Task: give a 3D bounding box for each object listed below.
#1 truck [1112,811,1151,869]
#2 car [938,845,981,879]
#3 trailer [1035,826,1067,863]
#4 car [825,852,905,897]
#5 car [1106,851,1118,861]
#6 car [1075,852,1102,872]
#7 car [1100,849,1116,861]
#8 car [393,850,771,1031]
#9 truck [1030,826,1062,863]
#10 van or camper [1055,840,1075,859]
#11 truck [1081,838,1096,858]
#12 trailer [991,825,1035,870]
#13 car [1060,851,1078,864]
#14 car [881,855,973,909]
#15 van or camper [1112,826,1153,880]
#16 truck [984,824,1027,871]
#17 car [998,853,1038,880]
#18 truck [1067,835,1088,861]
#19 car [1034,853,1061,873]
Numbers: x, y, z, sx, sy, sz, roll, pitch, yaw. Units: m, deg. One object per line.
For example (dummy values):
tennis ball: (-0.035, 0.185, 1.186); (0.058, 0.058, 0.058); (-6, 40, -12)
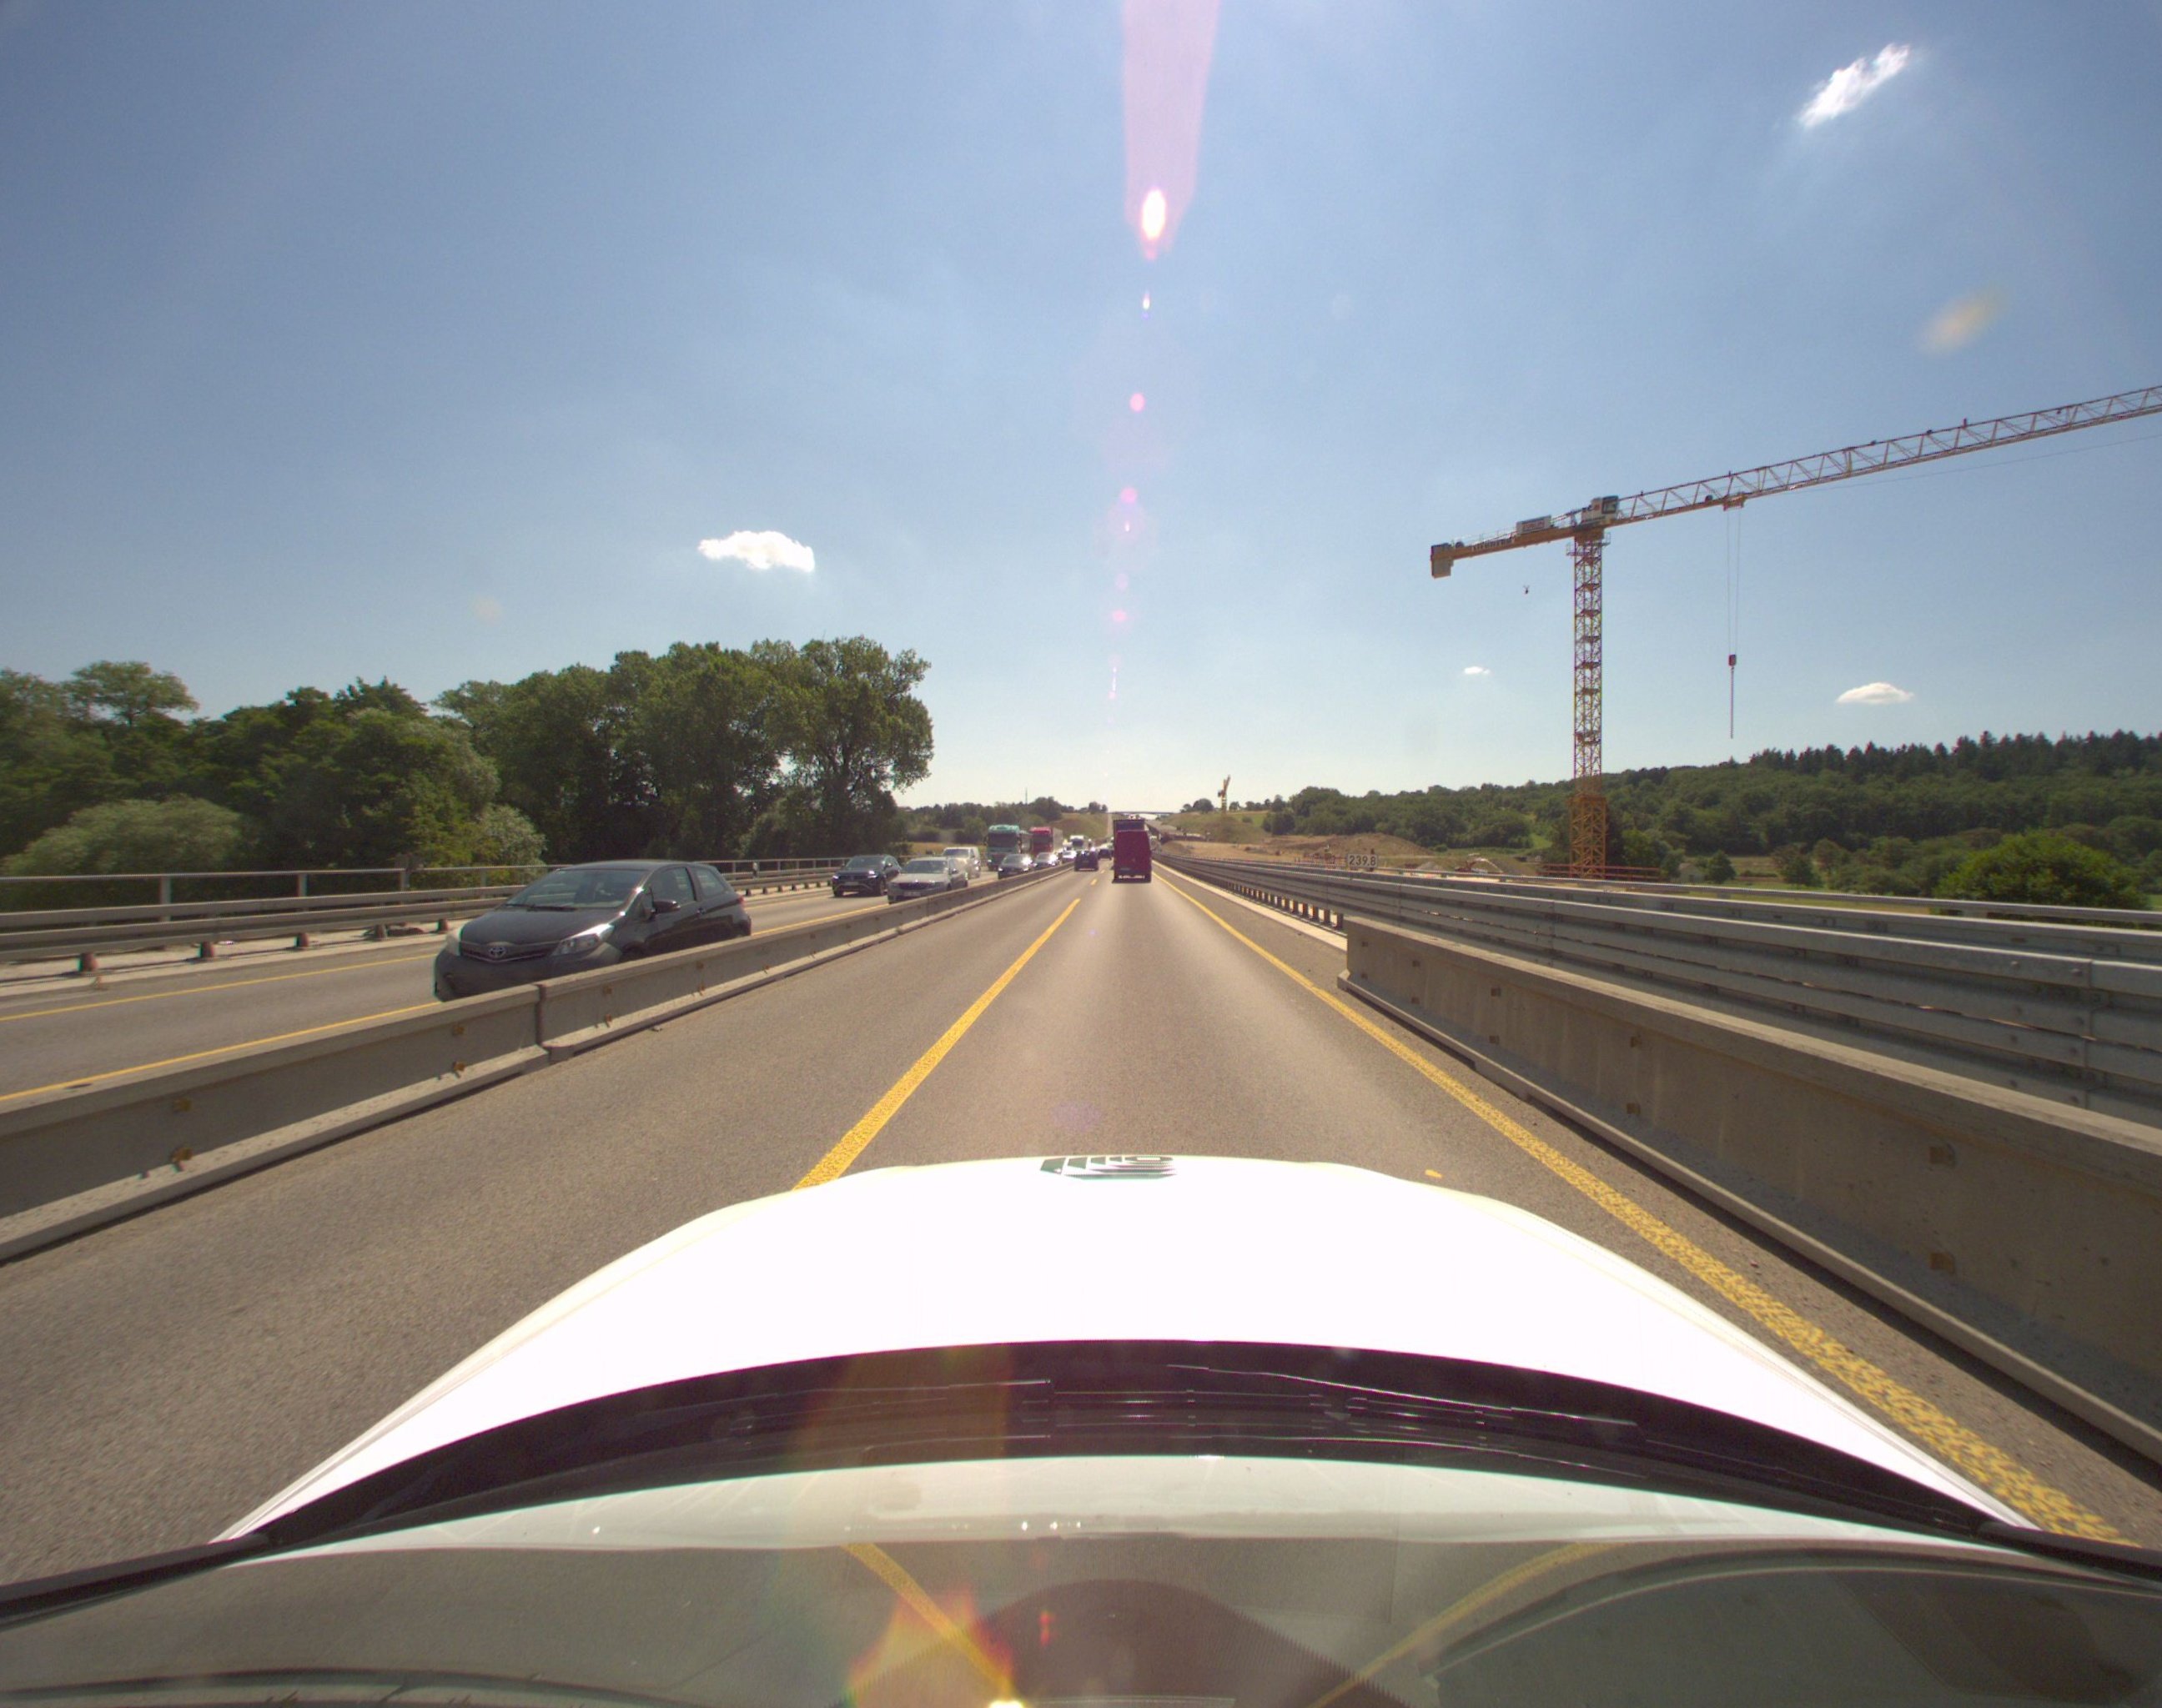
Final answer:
truck: (4.228, -1.155, 70.052); (3.009, 4.693, 6.935); (-2, 0, 2)
car: (-7.157, 0.439, 48.325); (1.853, 1.867, 4.628); (-1, 0, 0)
trailer: (-3.537, -1.184, 98.236); (2.795, 4.176, 11.807); (0, 1, 3)
car: (-8.135, 0.716, 31.038); (1.807, 1.569, 4.002); (-1, 0, 2)
car: (5.350, 0.344, 139.681); (2.004, 1.545, 4.136); (1, 1, 3)
car: (0.616, 0.588, 63.772); (2.004, 1.545, 4.134); (0, 0, 2)
car: (3.615, 0.103, 108.298); (2.004, 1.545, 4.136); (1, 1, 3)
car: (-5.310, 0.779, 9.443); (1.735, 1.582, 4.087); (-2, 0, 1)
truck: (-3.914, -1.085, 91.387); (2.803, 4.037, 6.530); (0, 1, 4)
van or camper: (-2.376, -0.695, 122.662); (2.492, 2.698, 5.250); (-1, 0, 4)
truck: (1.676, -1.291, 176.313); (2.794, 4.392, 6.232); (-1, 0, 4)
trailer: (-5.930, -0.586, 72.503); (2.783, 3.672, 8.962); (0, 1, 2)
car: (-1.290, 0.353, 89.908); (1.774, 1.379, 4.713); (-2, 0, 2)
car: (-4.679, 0.797, 25.384); (1.819, 1.418, 4.658); (-2, 0, 1)
van or camper: (2.693, -0.062, 43.357); (2.021, 2.744, 4.517); (0, 0, 2)
truck: (-6.157, -0.508, 67.485); (2.785, 3.722, 5.377); (-1, -1, 2)
car: (-3.533, 0.698, 46.413); (1.672, 1.392, 4.159); (-2, 0, 3)
truck: (-0.598, -1.110, 147.449); (3.064, 4.537, 7.111); (0, 0, 4)
car: (-2.499, 0.670, 62.095); (1.624, 1.408, 4.106); (-2, 0, 3)
